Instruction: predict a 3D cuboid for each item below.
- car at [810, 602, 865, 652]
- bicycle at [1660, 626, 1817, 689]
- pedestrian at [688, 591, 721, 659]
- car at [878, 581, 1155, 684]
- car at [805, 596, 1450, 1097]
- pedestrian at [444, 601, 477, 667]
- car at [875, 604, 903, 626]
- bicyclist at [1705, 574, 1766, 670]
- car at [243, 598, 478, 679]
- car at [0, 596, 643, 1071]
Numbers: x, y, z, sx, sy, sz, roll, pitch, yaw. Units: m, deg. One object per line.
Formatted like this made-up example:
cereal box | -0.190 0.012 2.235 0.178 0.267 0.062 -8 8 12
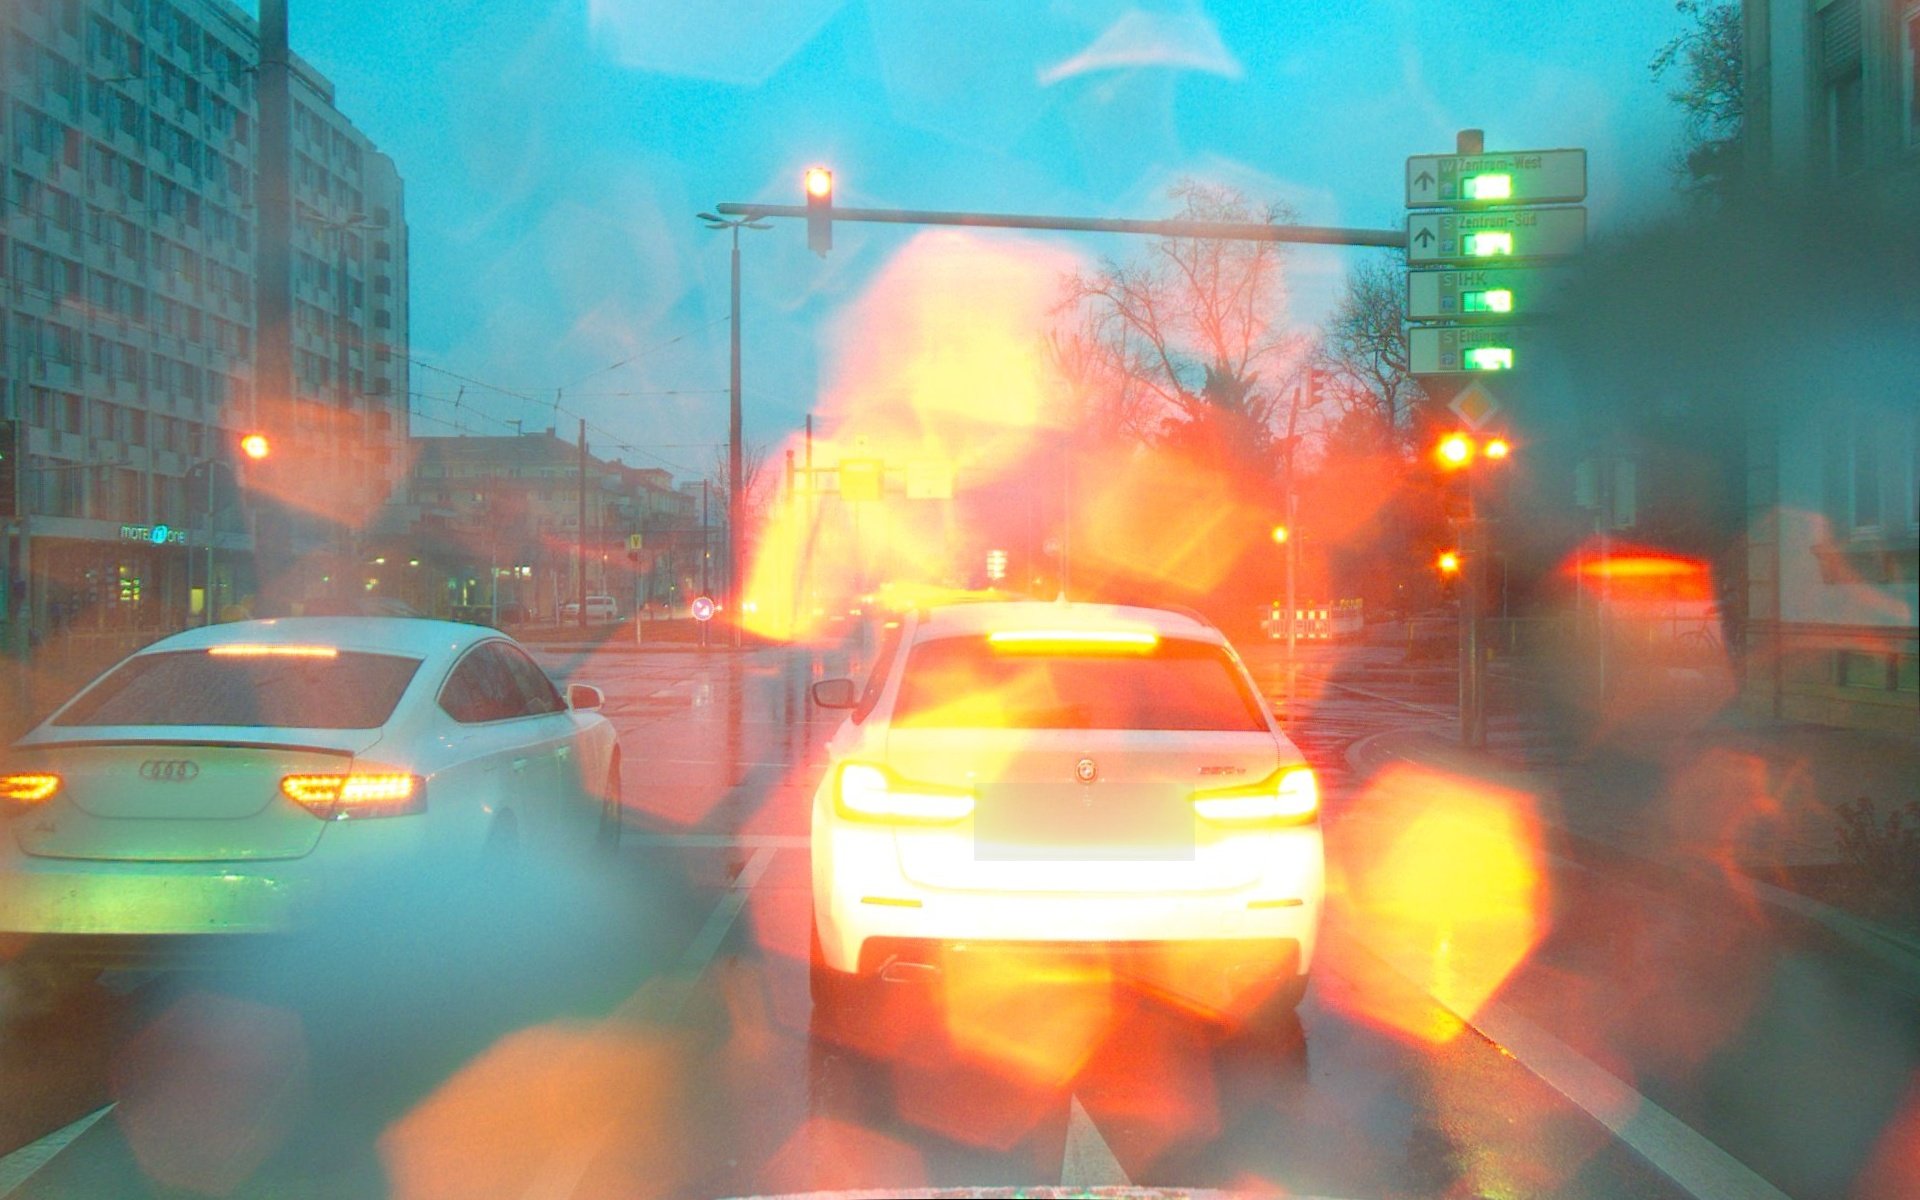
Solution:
car | -4.243 0.922 56.991 1.807 1.637 3.940 1 -1 -5
bicycle | 14.805 1.088 31.548 2.611 1.108 0.815 1 -1 19
pedestrian | -7.258 0.704 46.928 0.886 1.888 0.810 1 -1 -10
car | 1.030 0.557 29.637 4.598 1.751 1.902 0 -1 20
car | 0.416 0.735 7.171 1.954 1.481 4.366 0 0 -3
pedestrian | -13.458 0.914 44.551 0.777 1.741 0.809 2 -1 -16
car | -5.045 1.032 117.433 1.954 1.481 4.366 0 0 -3
bicyclist | 14.787 0.422 31.563 0.952 1.789 0.813 1 -1 19
car | -12.474 0.790 34.558 4.221 1.557 1.764 1 -1 5
car | -2.724 0.733 7.412 1.954 1.481 4.366 0 0 -3
